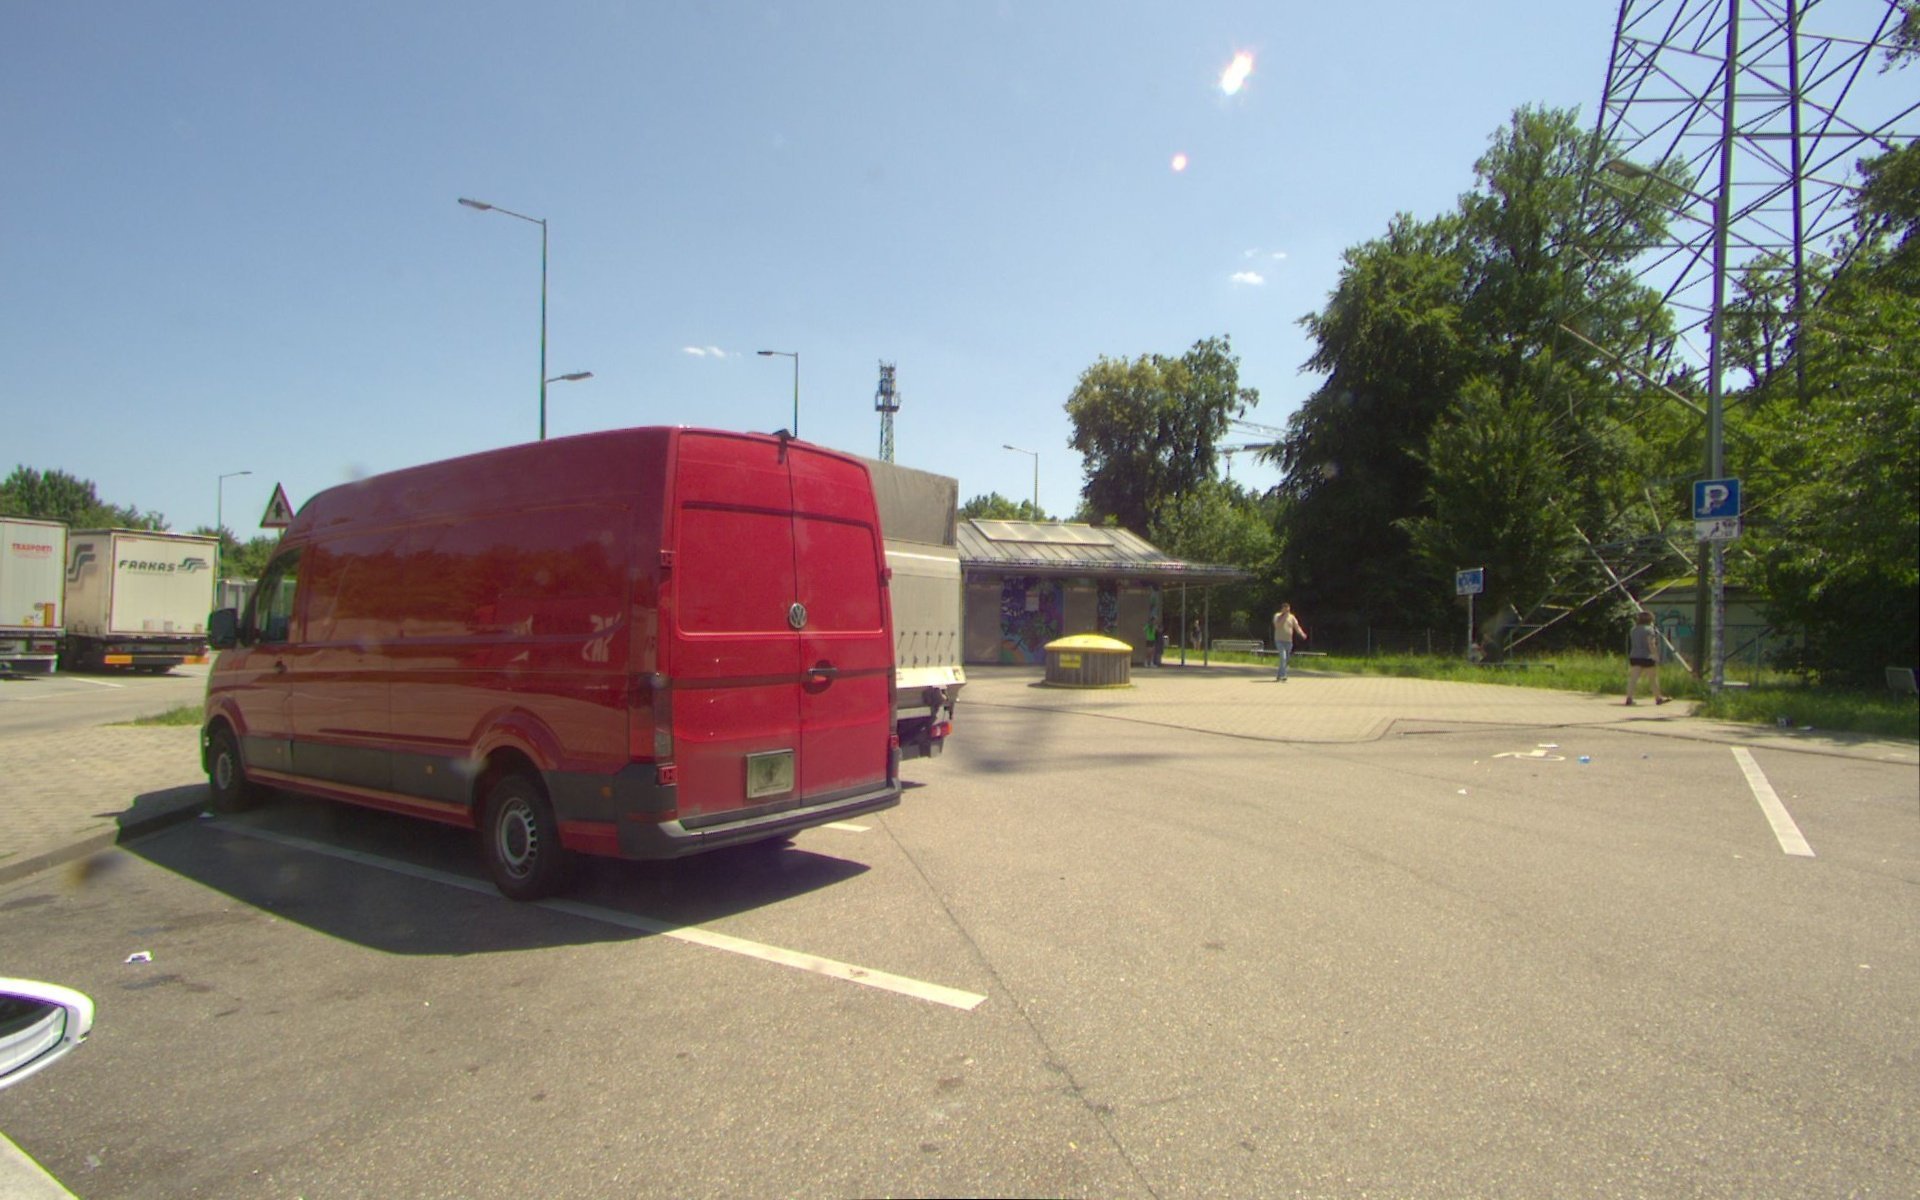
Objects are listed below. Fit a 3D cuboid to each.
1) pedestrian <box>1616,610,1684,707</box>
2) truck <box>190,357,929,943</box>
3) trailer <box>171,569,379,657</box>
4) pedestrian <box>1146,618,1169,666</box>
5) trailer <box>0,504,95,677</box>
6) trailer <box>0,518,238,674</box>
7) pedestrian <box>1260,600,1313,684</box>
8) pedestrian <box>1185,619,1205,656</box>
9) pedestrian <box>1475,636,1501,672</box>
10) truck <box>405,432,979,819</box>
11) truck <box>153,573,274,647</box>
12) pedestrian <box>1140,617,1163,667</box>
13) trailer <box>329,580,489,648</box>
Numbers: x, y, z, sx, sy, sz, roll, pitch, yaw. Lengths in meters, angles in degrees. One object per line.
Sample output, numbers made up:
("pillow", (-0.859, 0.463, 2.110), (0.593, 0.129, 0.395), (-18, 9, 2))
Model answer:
("pedestrian", (12.189, 1.024, 17.697), (0.701, 1.670, 0.688), (0, -1, -3))
("truck", (-3.329, 0.304, 7.322), (6.372, 2.685, 2.005), (-1, -2, 37))
("trailer", (-32.465, 0.490, 47.086), (13.561, 3.646, 2.854), (1, -2, 32))
("pedestrian", (5.797, 1.226, 29.382), (0.532, 1.392, 0.583), (0, -1, 0))
("trailer", (-28.677, -0.337, 28.008), (13.561, 4.162, 2.854), (1, -2, 32))
("trailer", (-27.604, -0.164, 31.596), (13.561, 4.162, 2.854), (1, -2, 32))
("pedestrian", (7.682, 0.974, 23.571), (0.799, 1.929, 0.920), (0, -1, -15))
("pedestrian", (10.753, 1.722, 45.856), (0.800, 1.639, 0.919), (-1, -1, 19))
("pedestrian", (14.653, 1.496, 27.799), (0.439, 0.987, 0.460), (0, -1, -19))
("truck", (-3.078, 0.276, 10.506), (6.372, 2.944, 2.411), (-1, -2, 37))
("truck", (-37.536, 0.481, 50.310), (5.887, 3.406, 2.862), (1, -2, 32))
("pedestrian", (5.395, 1.193, 28.272), (0.532, 1.392, 0.583), (0, -1, 0))
("trailer", (-36.156, 0.852, 65.326), (13.561, 3.955, 2.854), (1, -2, 32))
